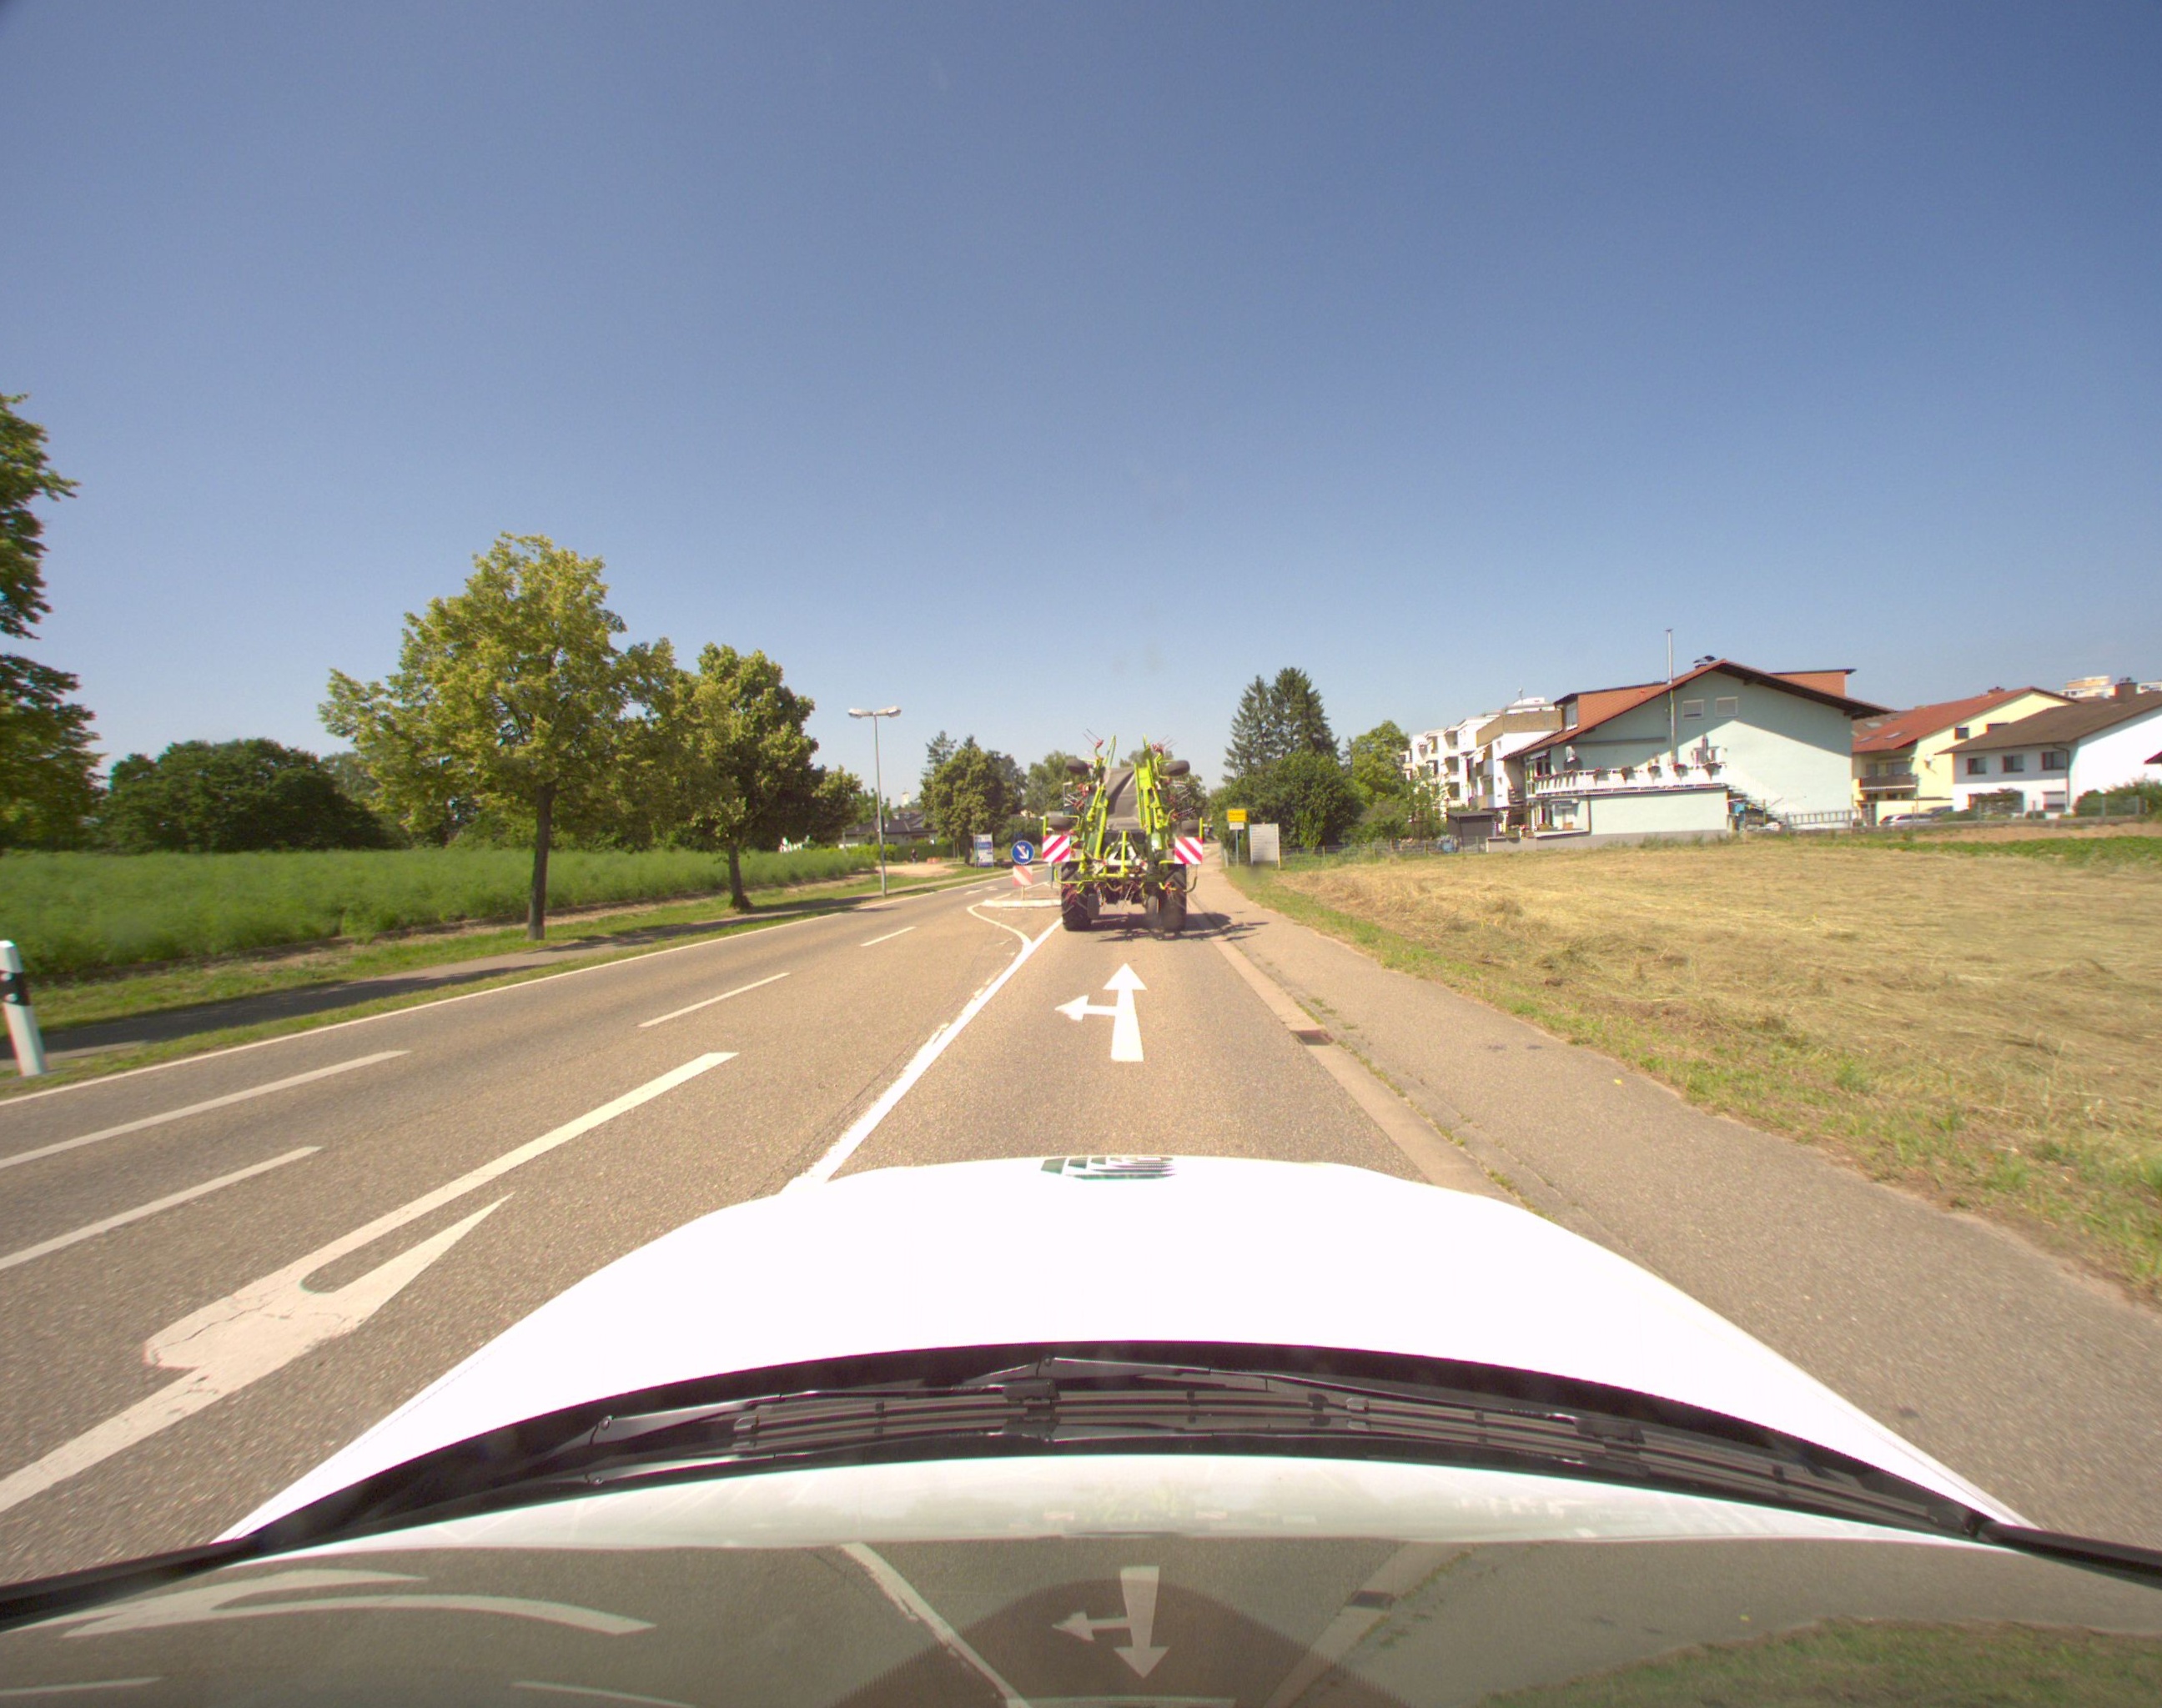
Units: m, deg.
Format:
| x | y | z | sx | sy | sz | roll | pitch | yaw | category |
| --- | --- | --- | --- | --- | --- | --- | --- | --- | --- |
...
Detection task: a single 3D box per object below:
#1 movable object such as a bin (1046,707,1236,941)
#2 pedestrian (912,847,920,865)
| x | y | z | sx | sy | sz | roll | pitch | yaw | category |
| --- | --- | --- | --- | --- | --- | --- | --- | --- | --- |
| 1.082 | -0.485 | 17.423 | 2.842 | 3.541 | 9.705 | -1 | 0 | 2 | movable object such as a bin |
| -15.950 | 0.180 | 78.819 | 0.676 | 1.717 | 0.547 | -1 | -1 | -22 | pedestrian |
